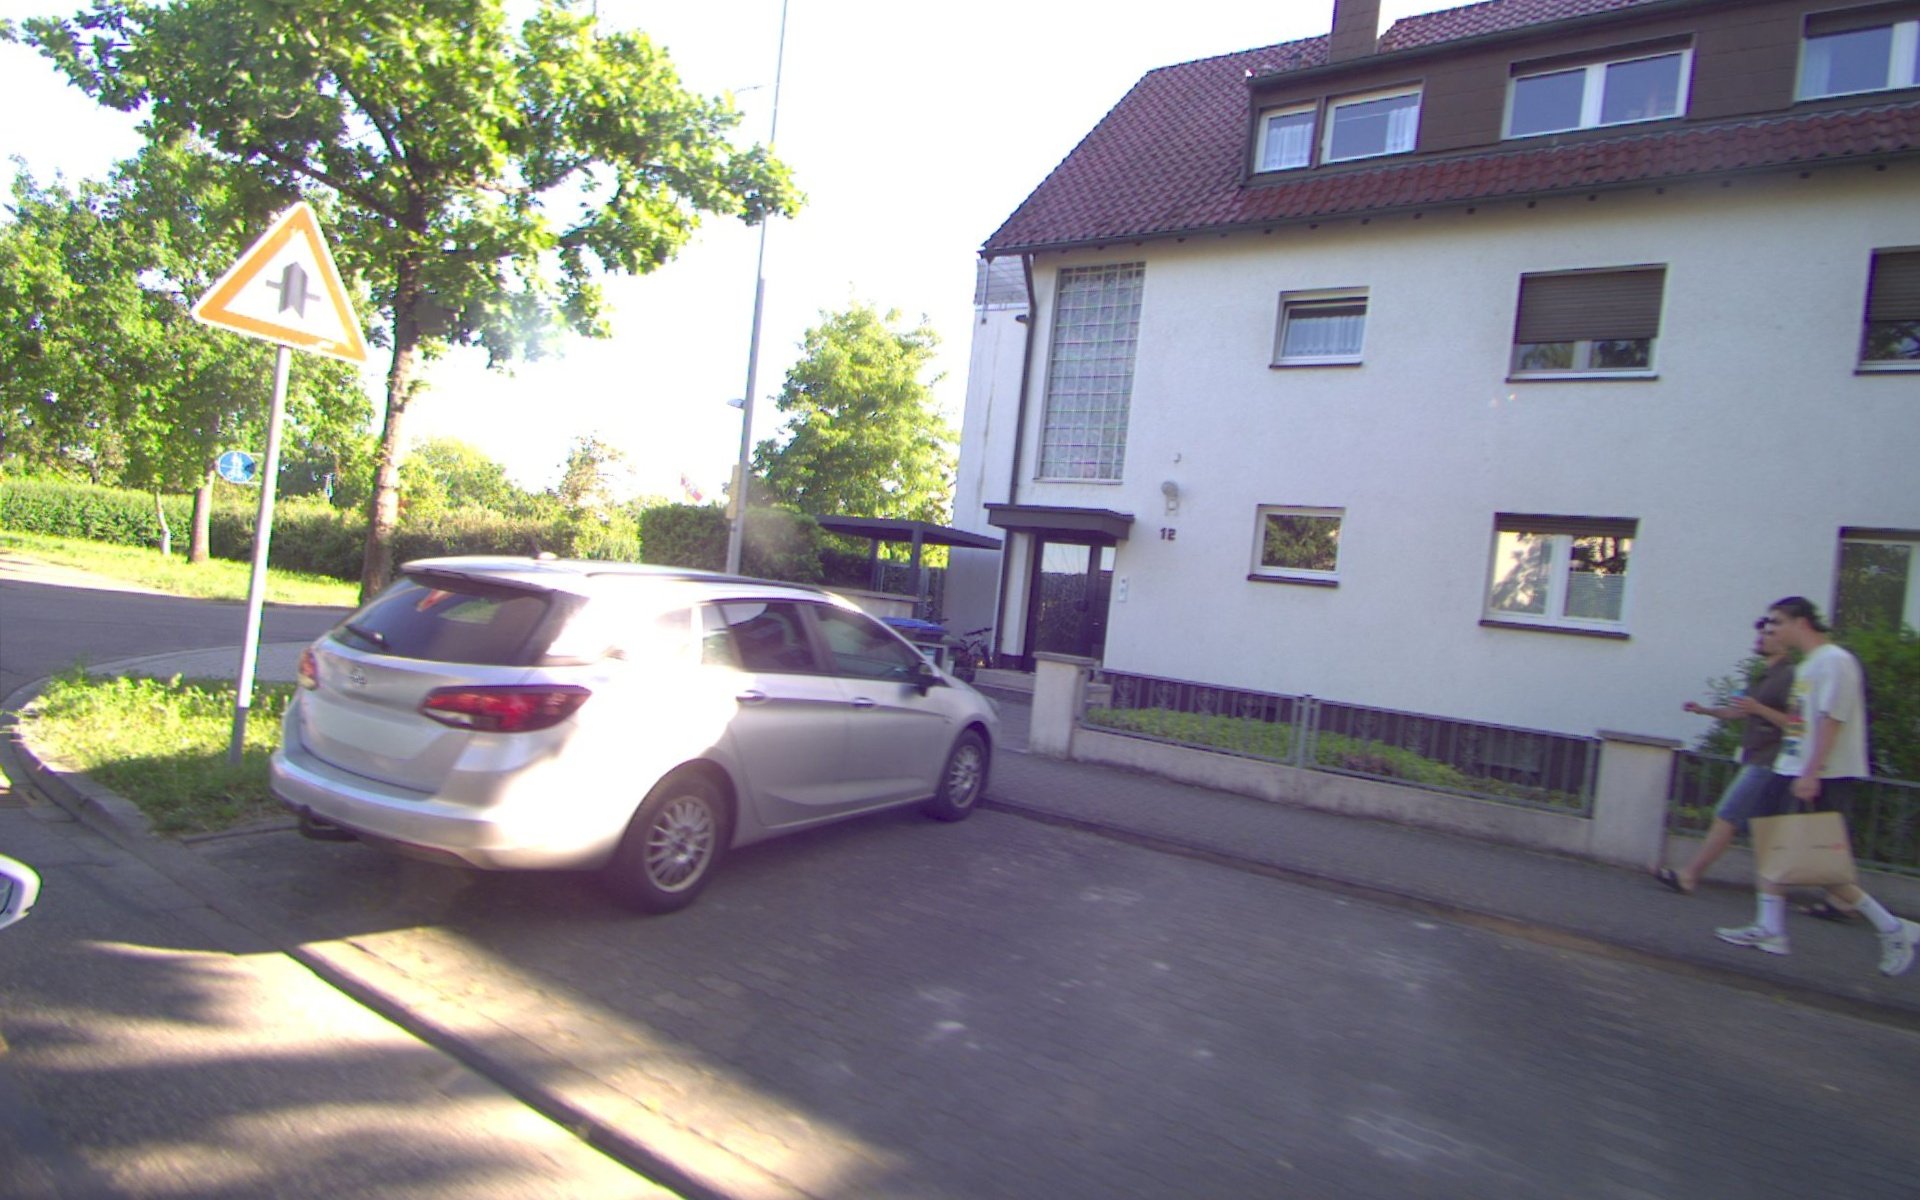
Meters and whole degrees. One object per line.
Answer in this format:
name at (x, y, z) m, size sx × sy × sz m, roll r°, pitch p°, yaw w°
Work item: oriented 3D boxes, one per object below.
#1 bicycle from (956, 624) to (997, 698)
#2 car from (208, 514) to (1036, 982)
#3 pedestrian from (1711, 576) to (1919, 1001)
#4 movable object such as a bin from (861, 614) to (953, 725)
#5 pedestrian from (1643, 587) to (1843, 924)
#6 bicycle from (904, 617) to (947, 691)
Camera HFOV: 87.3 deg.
bicycle at (0.268, 0.970, 16.499) m, size 0.522 × 1.067 × 1.673 m, roll 6°, pitch 1°, yaw 1°
car at (-1.337, 0.580, 5.817) m, size 1.765 × 1.510 × 4.435 m, roll 7°, pitch 1°, yaw 28°
pedestrian at (4.405, 0.882, 4.991) m, size 0.909 × 1.897 × 0.608 m, roll 6°, pitch 1°, yaw 35°
movable object such as a bin at (-0.552, 0.719, 10.588) m, size 0.688 × 1.058 × 0.534 m, roll 7°, pitch 1°, yaw 31°
pedestrian at (4.754, 0.895, 6.177) m, size 0.698 × 1.851 × 0.836 m, roll 6°, pitch 1°, yaw 30°
bicycle at (-0.548, 0.851, 16.497) m, size 0.522 × 1.067 × 1.673 m, roll 6°, pitch 1°, yaw 1°
